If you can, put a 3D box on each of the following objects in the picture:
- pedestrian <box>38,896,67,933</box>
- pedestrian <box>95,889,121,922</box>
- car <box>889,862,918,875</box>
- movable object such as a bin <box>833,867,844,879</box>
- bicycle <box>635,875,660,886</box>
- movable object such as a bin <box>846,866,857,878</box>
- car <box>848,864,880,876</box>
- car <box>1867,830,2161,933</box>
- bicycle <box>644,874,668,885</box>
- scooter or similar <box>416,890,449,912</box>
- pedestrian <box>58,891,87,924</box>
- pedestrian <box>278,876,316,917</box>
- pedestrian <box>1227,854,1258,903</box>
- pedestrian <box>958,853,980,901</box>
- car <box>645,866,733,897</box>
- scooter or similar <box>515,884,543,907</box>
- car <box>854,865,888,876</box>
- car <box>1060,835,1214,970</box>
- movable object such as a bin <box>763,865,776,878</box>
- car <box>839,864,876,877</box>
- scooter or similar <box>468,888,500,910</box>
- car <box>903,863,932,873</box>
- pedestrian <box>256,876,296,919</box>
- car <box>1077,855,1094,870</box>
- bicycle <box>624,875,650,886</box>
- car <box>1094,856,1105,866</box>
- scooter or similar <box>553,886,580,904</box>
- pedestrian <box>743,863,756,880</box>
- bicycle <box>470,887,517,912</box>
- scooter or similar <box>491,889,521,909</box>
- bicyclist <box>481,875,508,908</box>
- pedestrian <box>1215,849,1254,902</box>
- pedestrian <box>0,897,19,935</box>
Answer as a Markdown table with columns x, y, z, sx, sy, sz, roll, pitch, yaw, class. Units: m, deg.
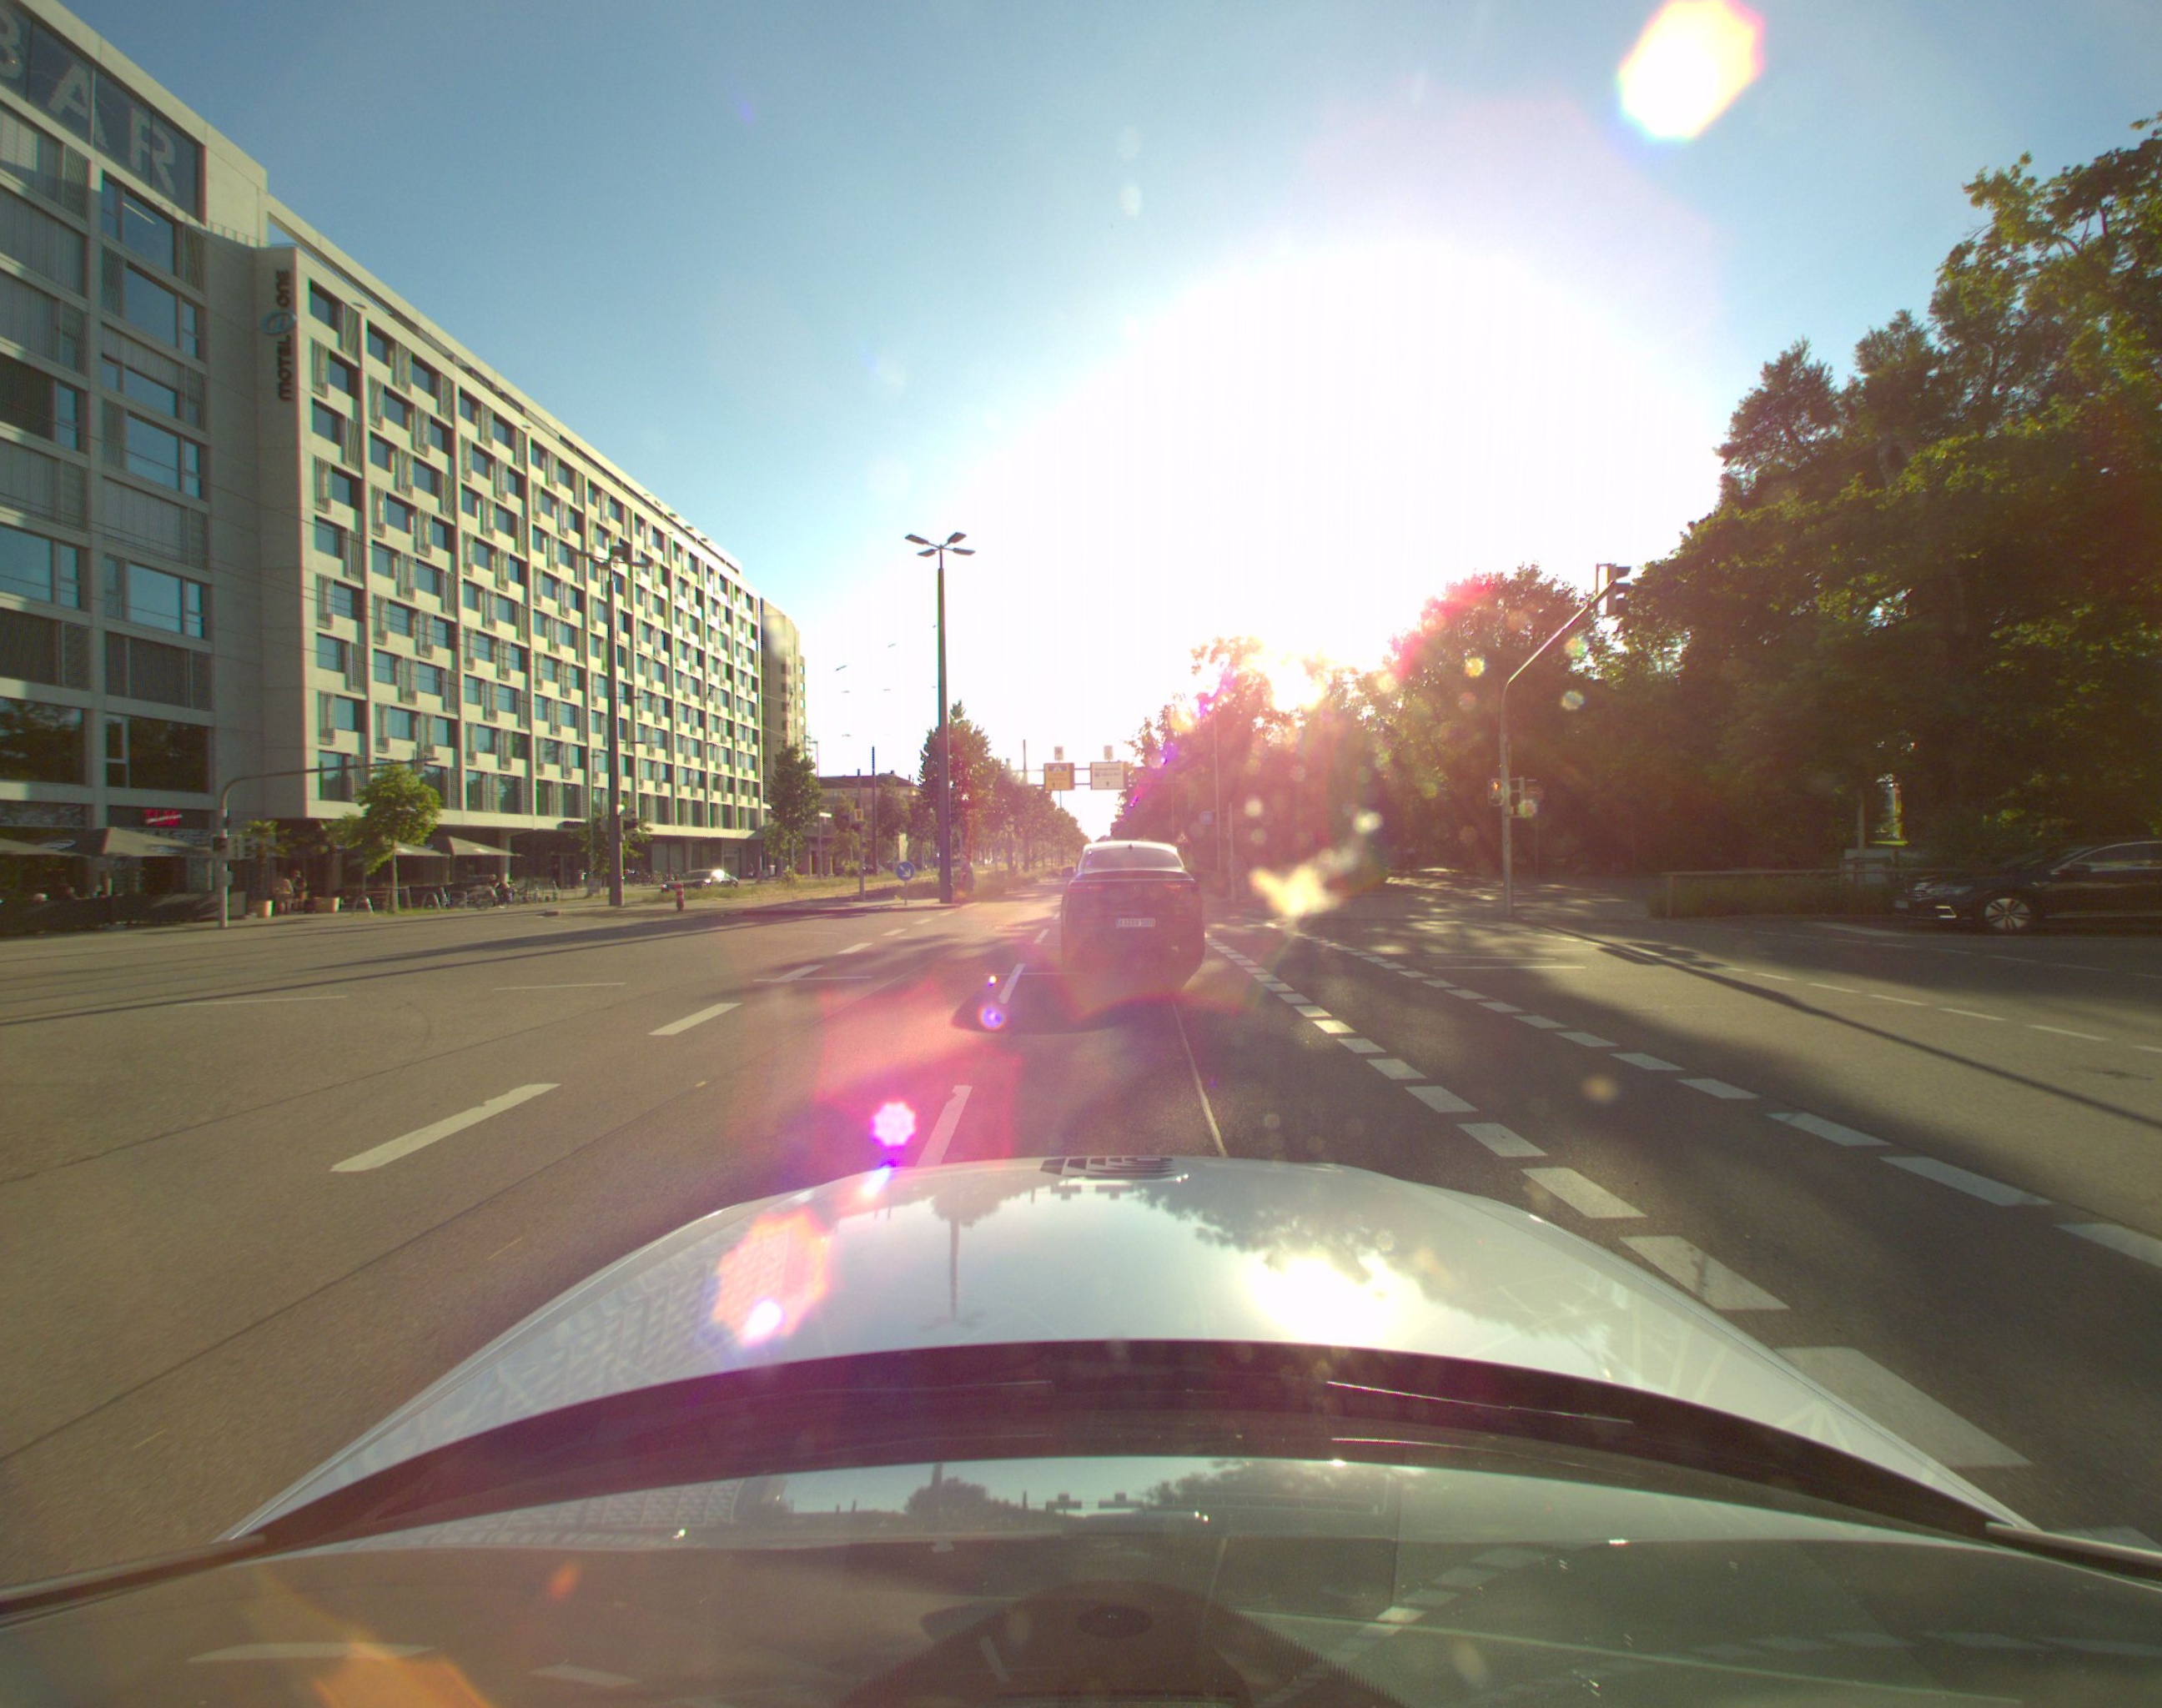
| x | y | z | sx | sy | sz | roll | pitch | yaw | class |
| --- | --- | --- | --- | --- | --- | --- | --- | --- | --- |
| -33.870 | 1.981 | 26.823 | 0.363 | 1.194 | 0.433 | -1 | 0 | -1 | pedestrian |
| -38.084 | 2.014 | 31.881 | 0.430 | 1.222 | 0.497 | -1 | 0 | 2 | pedestrian |
| -25.934 | 2.113 | 118.977 | 3.777 | 1.829 | 1.804 | 0 | 0 | -38 | car |
| -28.492 | 2.183 | 95.800 | 0.851 | 1.358 | 0.944 | -2 | -1 | 16 | movable object such as a bin |
| -35.894 | 2.179 | 67.458 | 1.801 | 0.905 | 0.511 | -1 | -1 | -5 | bicycle |
| -27.100 | 2.113 | 96.088 | 0.851 | 1.280 | 0.944 | -2 | -1 | 16 | movable object such as a bin |
| -27.856 | 2.087 | 104.703 | 3.643 | 1.523 | 1.602 | 1 | -1 | -39 | car |
| 15.569 | 0.405 | 12.577 | 4.544 | 1.474 | 1.914 | -2 | -1 | 26 | car |
| -36.096 | 2.163 | 69.123 | 1.745 | 0.966 | 0.483 | 0 | 0 | 1 | bicycle |
| -30.210 | 2.185 | 37.932 | 1.238 | 1.006 | 0.406 | -2 | 0 | 2 | scooter or similar |
| -38.151 | 2.010 | 30.808 | 0.430 | 1.222 | 0.497 | -1 | 0 | 2 | pedestrian |
| -33.540 | 1.807 | 34.844 | 0.863 | 1.721 | 0.806 | -1 | 0 | 11 | pedestrian |
| 5.600 | 0.832 | 28.224 | 0.765 | 1.636 | 0.768 | -3 | 0 | -8 | pedestrian |
| -4.081 | 0.829 | 29.805 | 0.595 | 1.699 | 0.715 | -2 | 0 | 7 | pedestrian |
| -19.362 | 1.302 | 40.496 | 1.884 | 1.343 | 4.852 | -1 | 0 | 2 | car |
| -29.582 | 2.204 | 43.641 | 1.238 | 1.172 | 0.406 | -2 | -1 | 2 | scooter or similar |
| -27.765 | 2.166 | 107.777 | 1.764 | 1.453 | 4.024 | 0 | 0 | 44 | car |
| 0.721 | 0.626 | 12.556 | 1.987 | 1.734 | 3.999 | 0 | 0 | -1 | car |
| -34.937 | 1.964 | 91.417 | 0.797 | 1.440 | 1.403 | -2 | 0 | 2 | movable object such as a bin |
| -27.813 | 2.053 | 101.425 | 4.116 | 1.601 | 1.730 | 2 | 0 | -39 | car |
| -29.702 | 2.241 | 40.526 | 1.238 | 1.019 | 0.511 | -2 | 0 | 2 | scooter or similar |
| -25.787 | 2.218 | 128.710 | 4.020 | 1.563 | 1.977 | 0 | 0 | -40 | car |
| -33.647 | 1.804 | 34.051 | 0.863 | 1.721 | 0.806 | -1 | 0 | 11 | pedestrian |
| 0.508 | 0.953 | 91.884 | 1.879 | 1.580 | 4.001 | 0 | 0 | 1 | car |
| -36.143 | 2.151 | 66.290 | 1.801 | 0.905 | 0.511 | -1 | -1 | -5 | bicycle |
| 3.123 | 1.181 | 139.603 | 1.879 | 1.580 | 4.001 | 0 | 0 | 1 | car |
| -29.413 | 2.338 | 46.593 | 1.238 | 1.019 | 0.435 | -2 | 0 | 2 | scooter or similar |
| -33.401 | 1.764 | 82.147 | 0.840 | 1.653 | 0.971 | -1 | 0 | 3 | pedestrian |
| -27.679 | 2.112 | 38.413 | 0.622 | 1.067 | 2.079 | -1 | 0 | 3 | bicycle |
| -29.667 | 2.323 | 42.052 | 1.238 | 1.019 | 0.435 | -2 | 0 | 2 | scooter or similar |
| -27.676 | 1.762 | 38.434 | 0.622 | 1.465 | 0.851 | -1 | -1 | 2 | bicyclist |
| 5.459 | 0.757 | 28.997 | 0.863 | 1.802 | 0.898 | -3 | 0 | -33 | pedestrian |
| -34.337 | 1.979 | 25.965 | 0.363 | 1.194 | 0.433 | -1 | 0 | -1 | pedestrian |
